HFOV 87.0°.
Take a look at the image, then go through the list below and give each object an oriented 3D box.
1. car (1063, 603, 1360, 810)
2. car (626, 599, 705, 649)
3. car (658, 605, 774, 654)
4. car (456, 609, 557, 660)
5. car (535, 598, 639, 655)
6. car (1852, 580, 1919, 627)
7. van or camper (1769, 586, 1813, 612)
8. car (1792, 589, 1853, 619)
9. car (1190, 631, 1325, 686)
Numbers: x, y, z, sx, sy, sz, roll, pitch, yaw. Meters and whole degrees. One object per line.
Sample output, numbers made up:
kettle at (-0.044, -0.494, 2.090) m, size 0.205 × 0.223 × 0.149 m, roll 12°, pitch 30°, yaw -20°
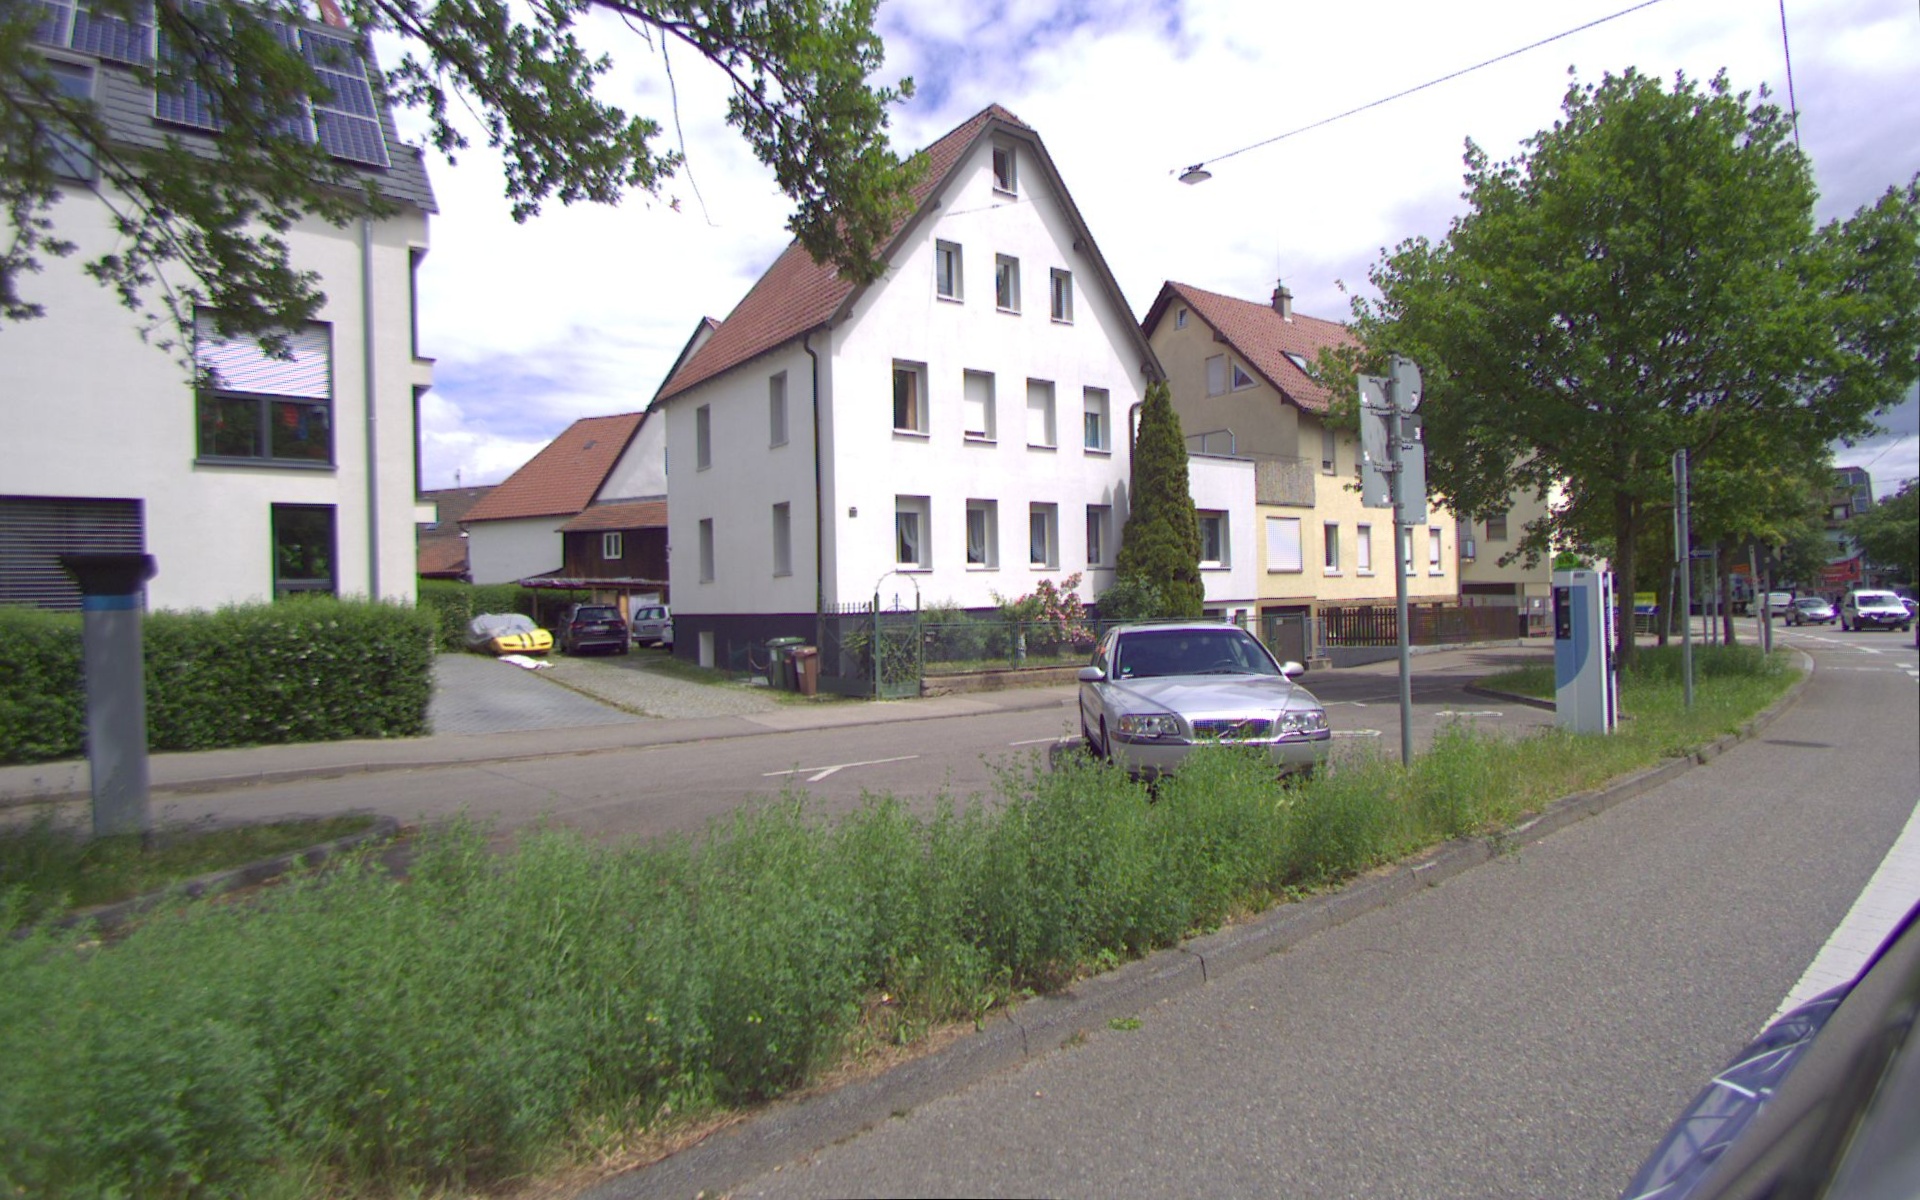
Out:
car at (2.089, 0.837, 9.820) m, size 1.735 × 1.470 × 4.686 m, roll -2°, pitch -1°, yaw 1°
car at (-10.048, 0.787, 34.793) m, size 1.426 × 1.544 × 3.358 m, roll 2°, pitch 0°, yaw 6°
car at (-7.717, 0.899, 32.292) m, size 1.574 × 1.426 × 3.664 m, roll -1°, pitch 0°, yaw 29°
car at (-13.887, 1.002, 30.882) m, size 1.964 × 1.349 × 3.997 m, roll -3°, pitch 1°, yaw -37°
car at (-11.765, 0.842, 31.783) m, size 1.963 × 1.661 × 3.997 m, roll 2°, pitch -2°, yaw -37°
car at (40.604, 0.127, 44.139) m, size 1.839 × 1.839 × 3.953 m, roll -5°, pitch -2°, yaw 33°
van or camper at (59.382, -0.078, 72.355) m, size 1.853 × 1.799 × 4.329 m, roll -2°, pitch -1°, yaw 33°
car at (47.266, 0.193, 55.539) m, size 1.679 × 1.505 × 3.960 m, roll -5°, pitch -2°, yaw 29°
car at (7.841, 1.508, 26.537) m, size 3.803 × 1.139 × 1.464 m, roll -3°, pitch -2°, yaw -39°
